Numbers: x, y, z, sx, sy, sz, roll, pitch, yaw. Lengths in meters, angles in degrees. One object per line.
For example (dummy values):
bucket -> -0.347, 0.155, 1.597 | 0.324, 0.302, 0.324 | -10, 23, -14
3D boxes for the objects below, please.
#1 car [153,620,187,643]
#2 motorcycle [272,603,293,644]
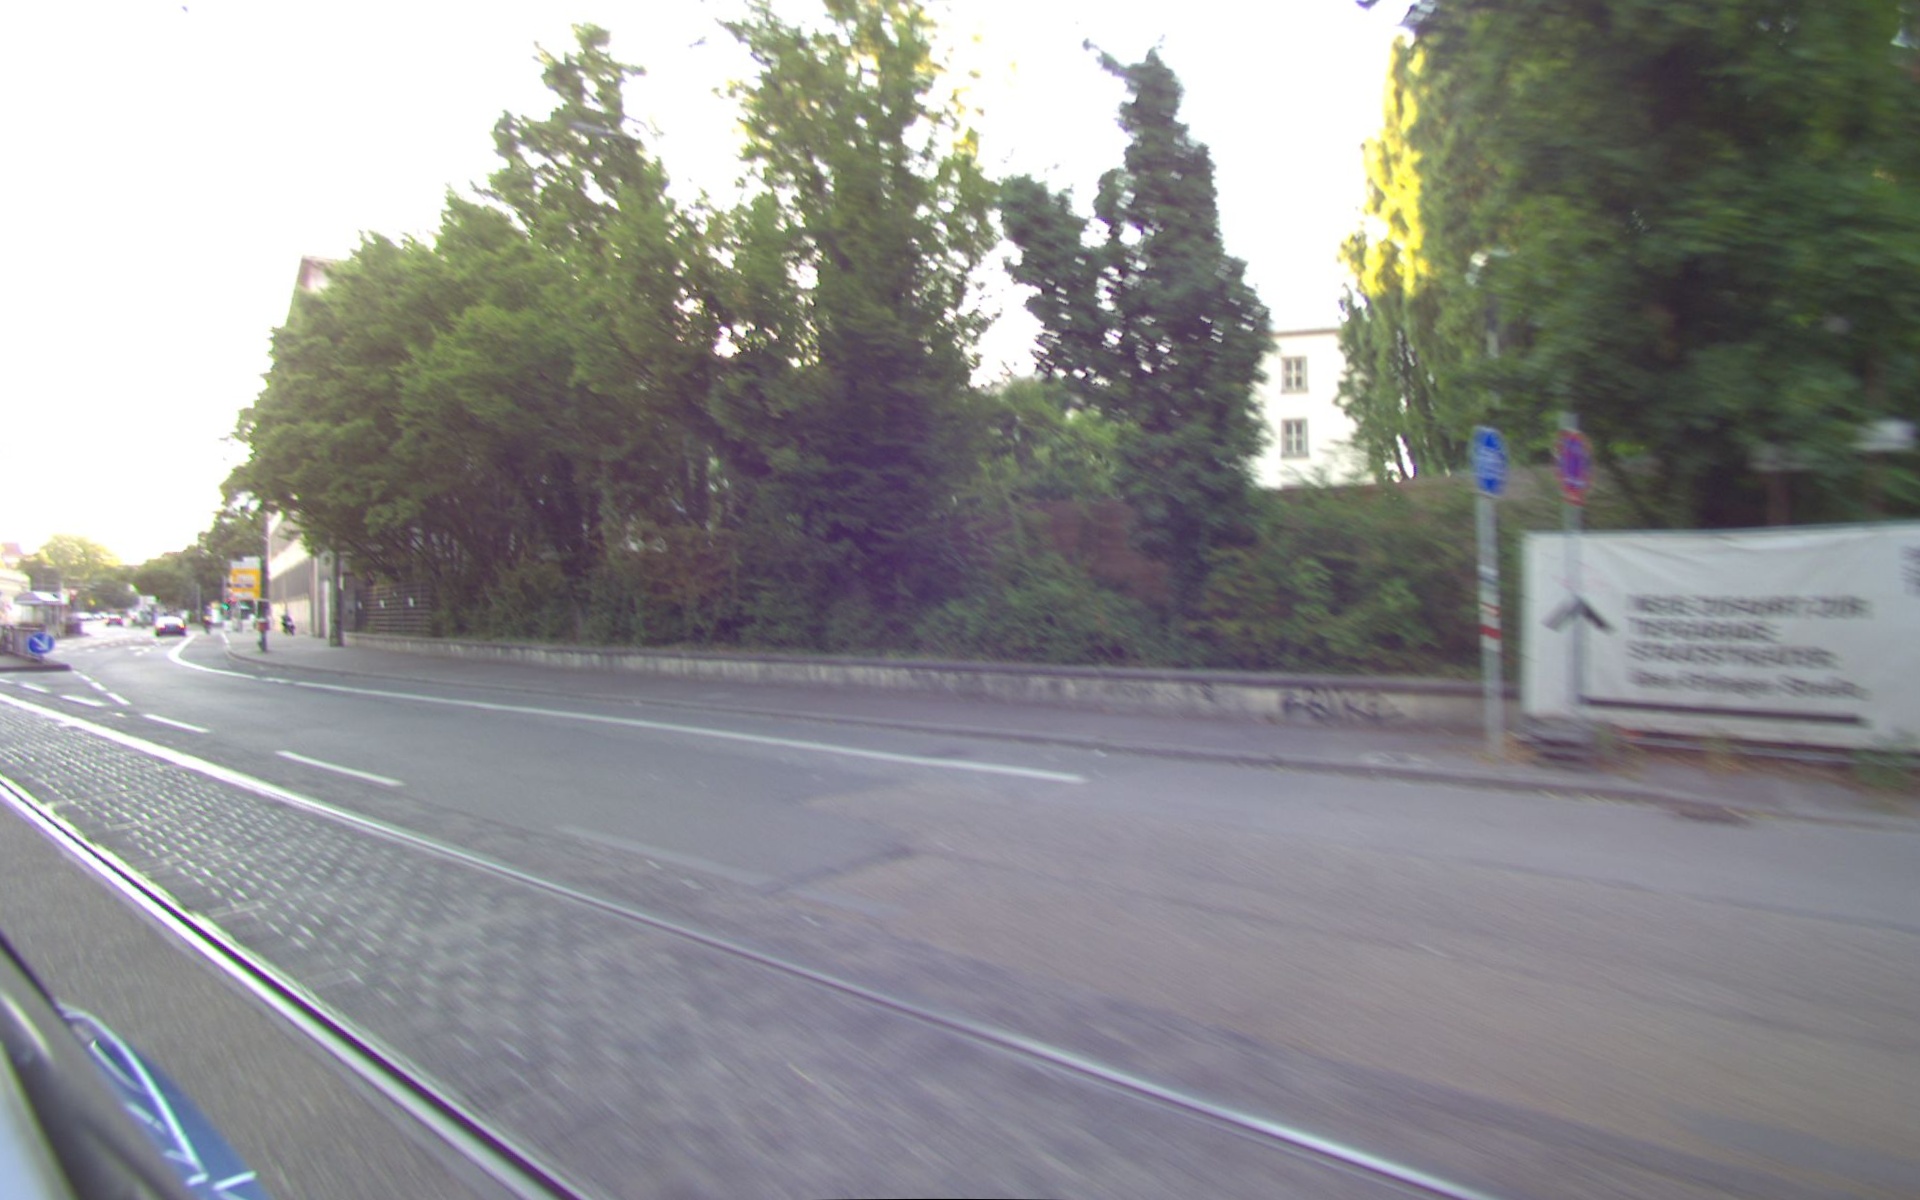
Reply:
car -> -63.137, 2.491, 80.850 | 1.969, 1.697, 4.006 | 0, -1, -40
motorcycle -> -41.212, 1.409, 61.539 | 1.007, 2.461, 2.674 | 0, -1, -35
